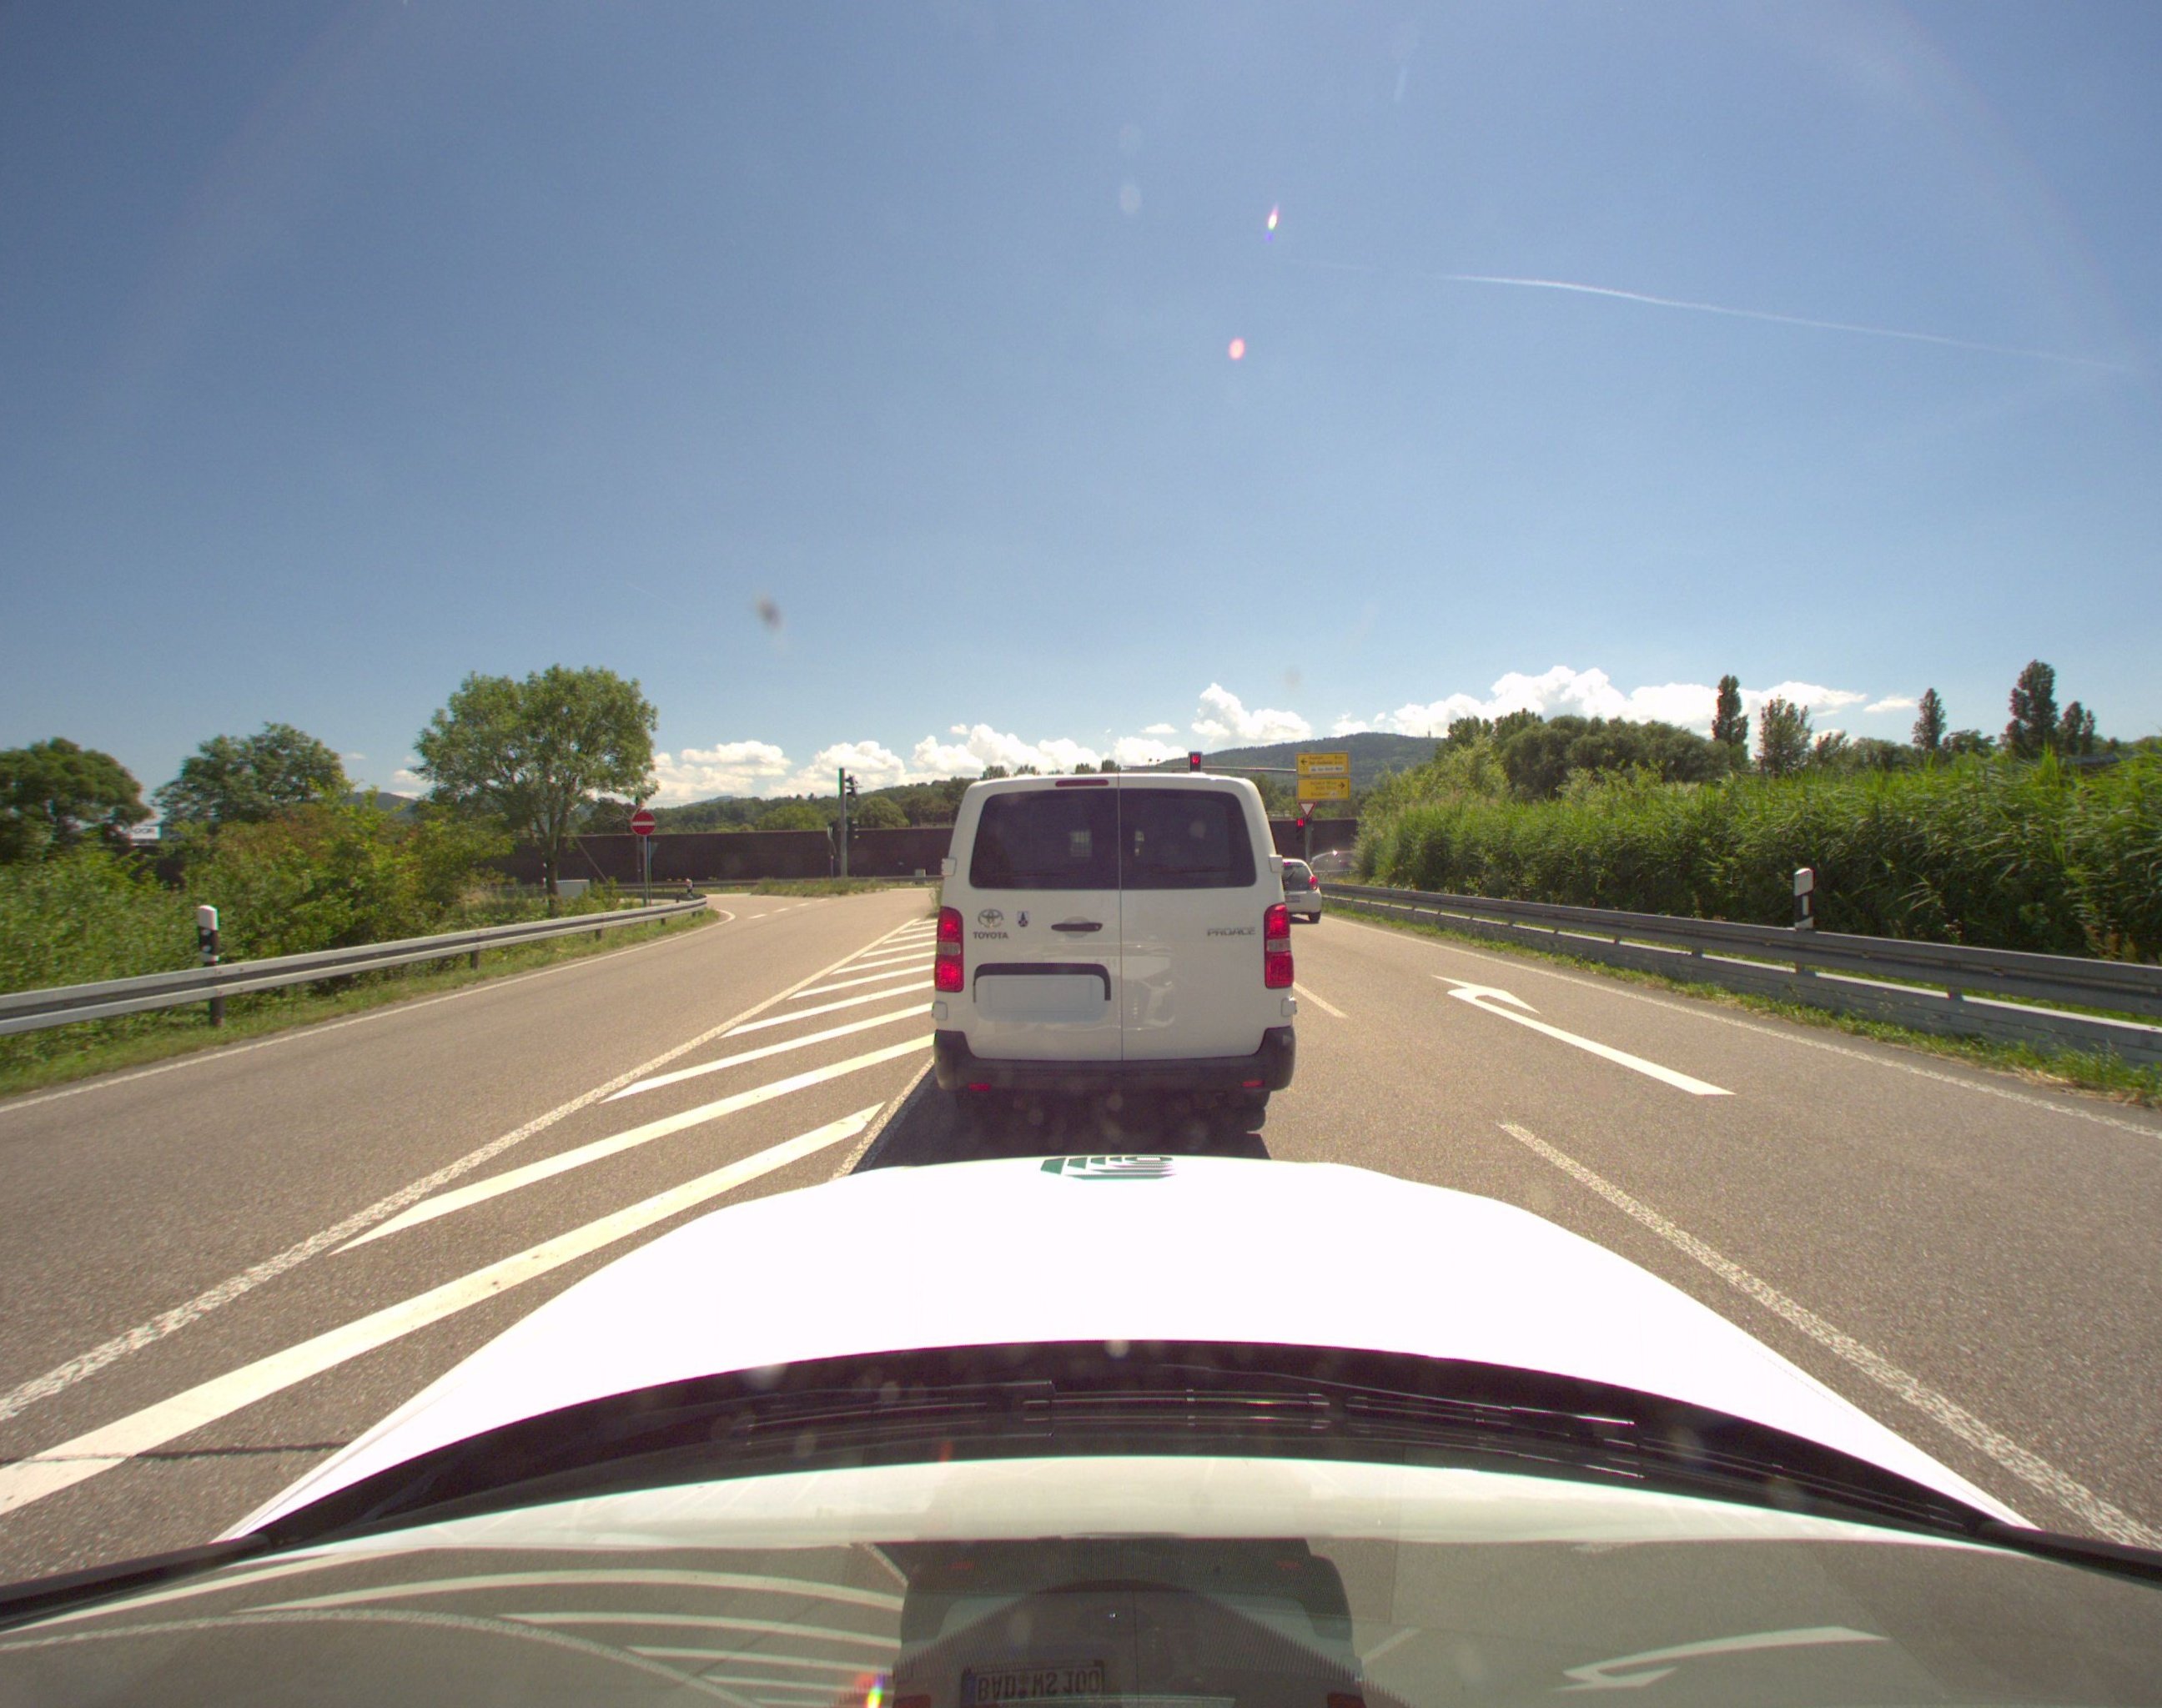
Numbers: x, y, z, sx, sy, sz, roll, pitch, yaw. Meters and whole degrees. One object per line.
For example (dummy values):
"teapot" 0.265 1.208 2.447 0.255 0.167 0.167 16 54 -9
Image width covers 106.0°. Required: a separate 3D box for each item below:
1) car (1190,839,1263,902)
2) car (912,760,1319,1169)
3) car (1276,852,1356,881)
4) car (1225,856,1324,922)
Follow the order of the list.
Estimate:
"car" 4.929 0.535 28.238 1.920 2.000 4.842 -1 0 3
"car" 0.204 0.526 5.791 1.880 1.886 4.001 -1 0 1
"car" 14.272 0.747 49.647 4.298 1.656 1.999 -1 -1 -2
"car" 4.564 0.778 19.624 1.650 1.431 3.366 -1 0 1
